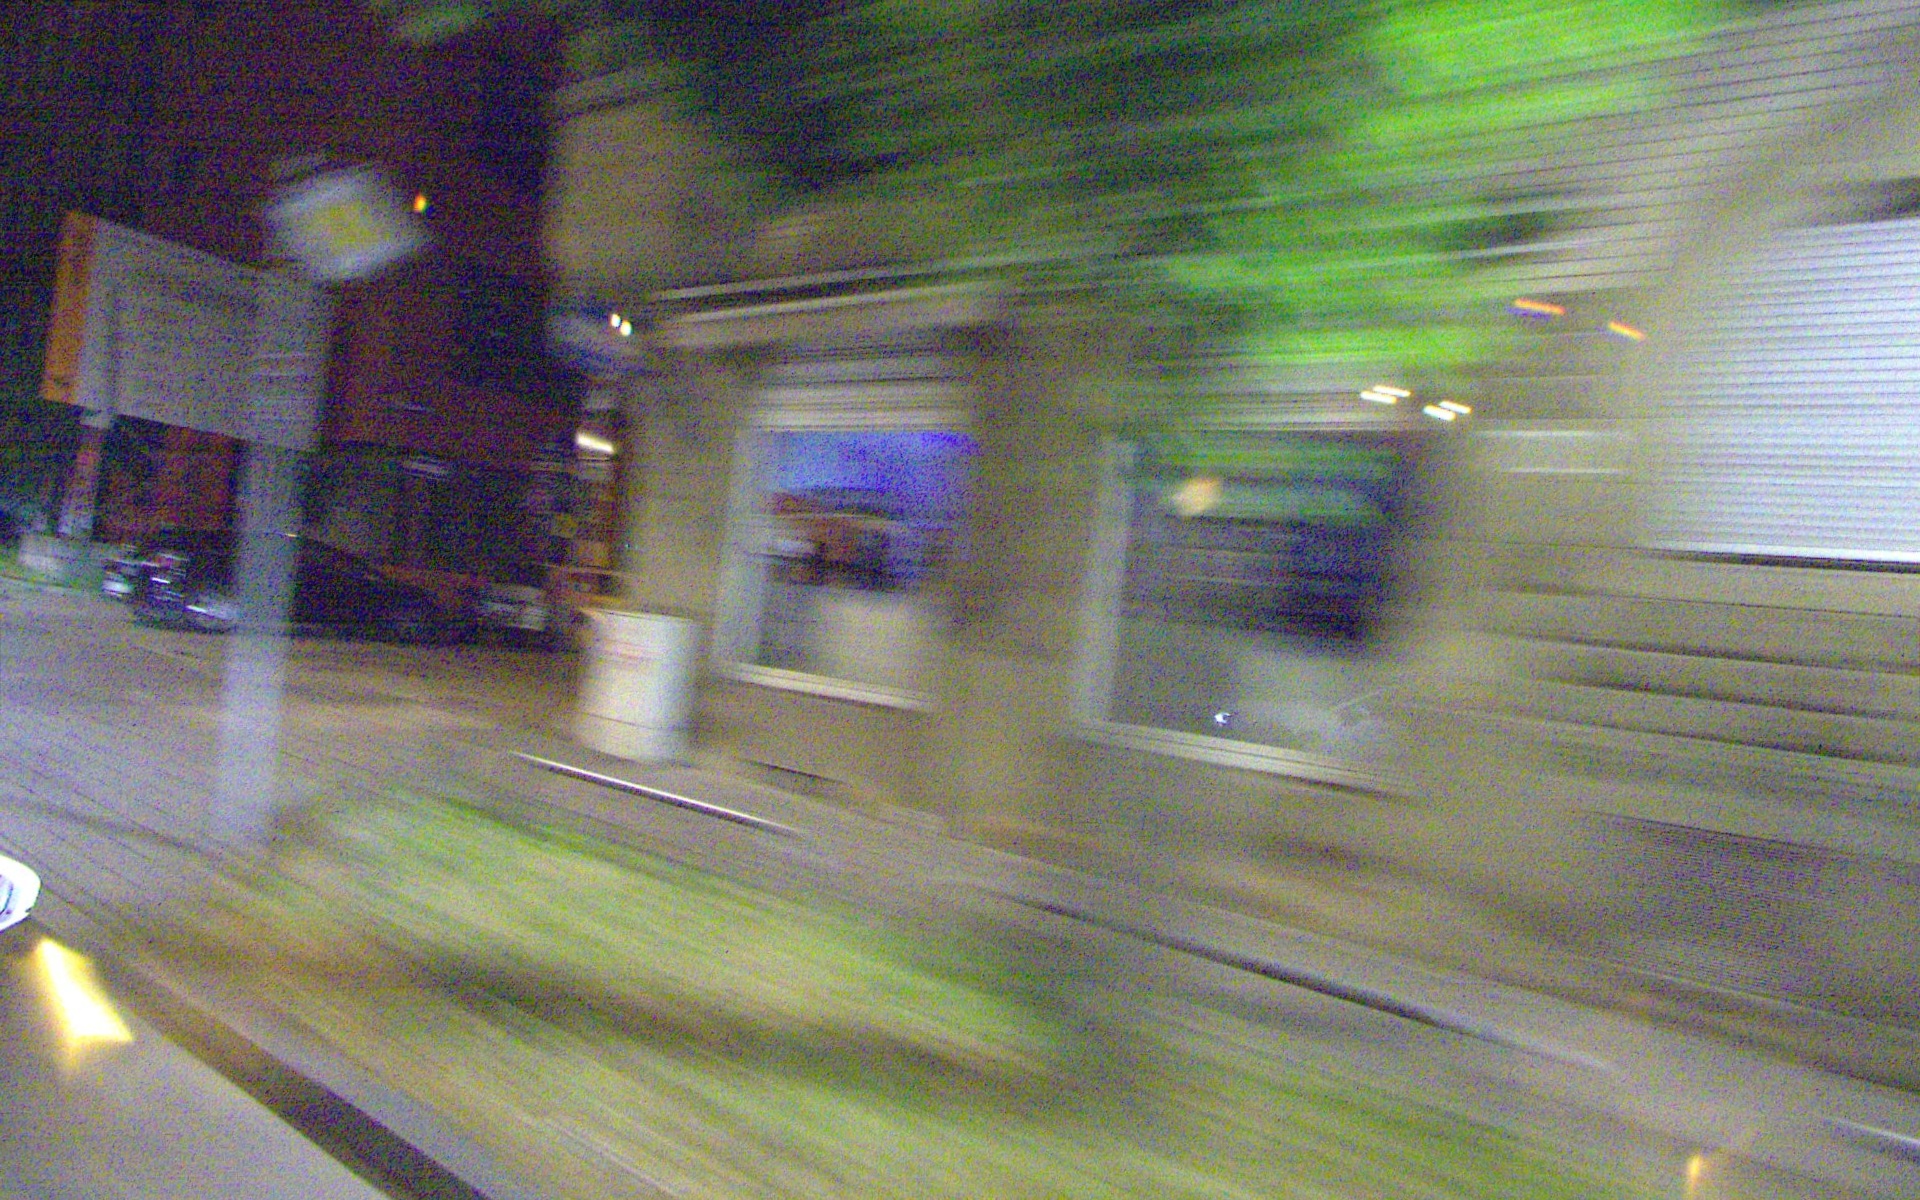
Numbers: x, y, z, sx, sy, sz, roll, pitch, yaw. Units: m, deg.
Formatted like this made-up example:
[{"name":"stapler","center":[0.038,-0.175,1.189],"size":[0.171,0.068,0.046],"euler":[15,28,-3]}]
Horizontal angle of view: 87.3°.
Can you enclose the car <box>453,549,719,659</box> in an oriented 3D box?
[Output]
[{"name":"car","center":[-6.486,0.153,17.939],"size":[1.820,1.485,4.201],"euler":[7,-1,27]}]

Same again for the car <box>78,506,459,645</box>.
[{"name":"car","center":[-9.631,-0.264,14.379],"size":[1.821,1.438,4.023],"euler":[5,-2,29]}]
